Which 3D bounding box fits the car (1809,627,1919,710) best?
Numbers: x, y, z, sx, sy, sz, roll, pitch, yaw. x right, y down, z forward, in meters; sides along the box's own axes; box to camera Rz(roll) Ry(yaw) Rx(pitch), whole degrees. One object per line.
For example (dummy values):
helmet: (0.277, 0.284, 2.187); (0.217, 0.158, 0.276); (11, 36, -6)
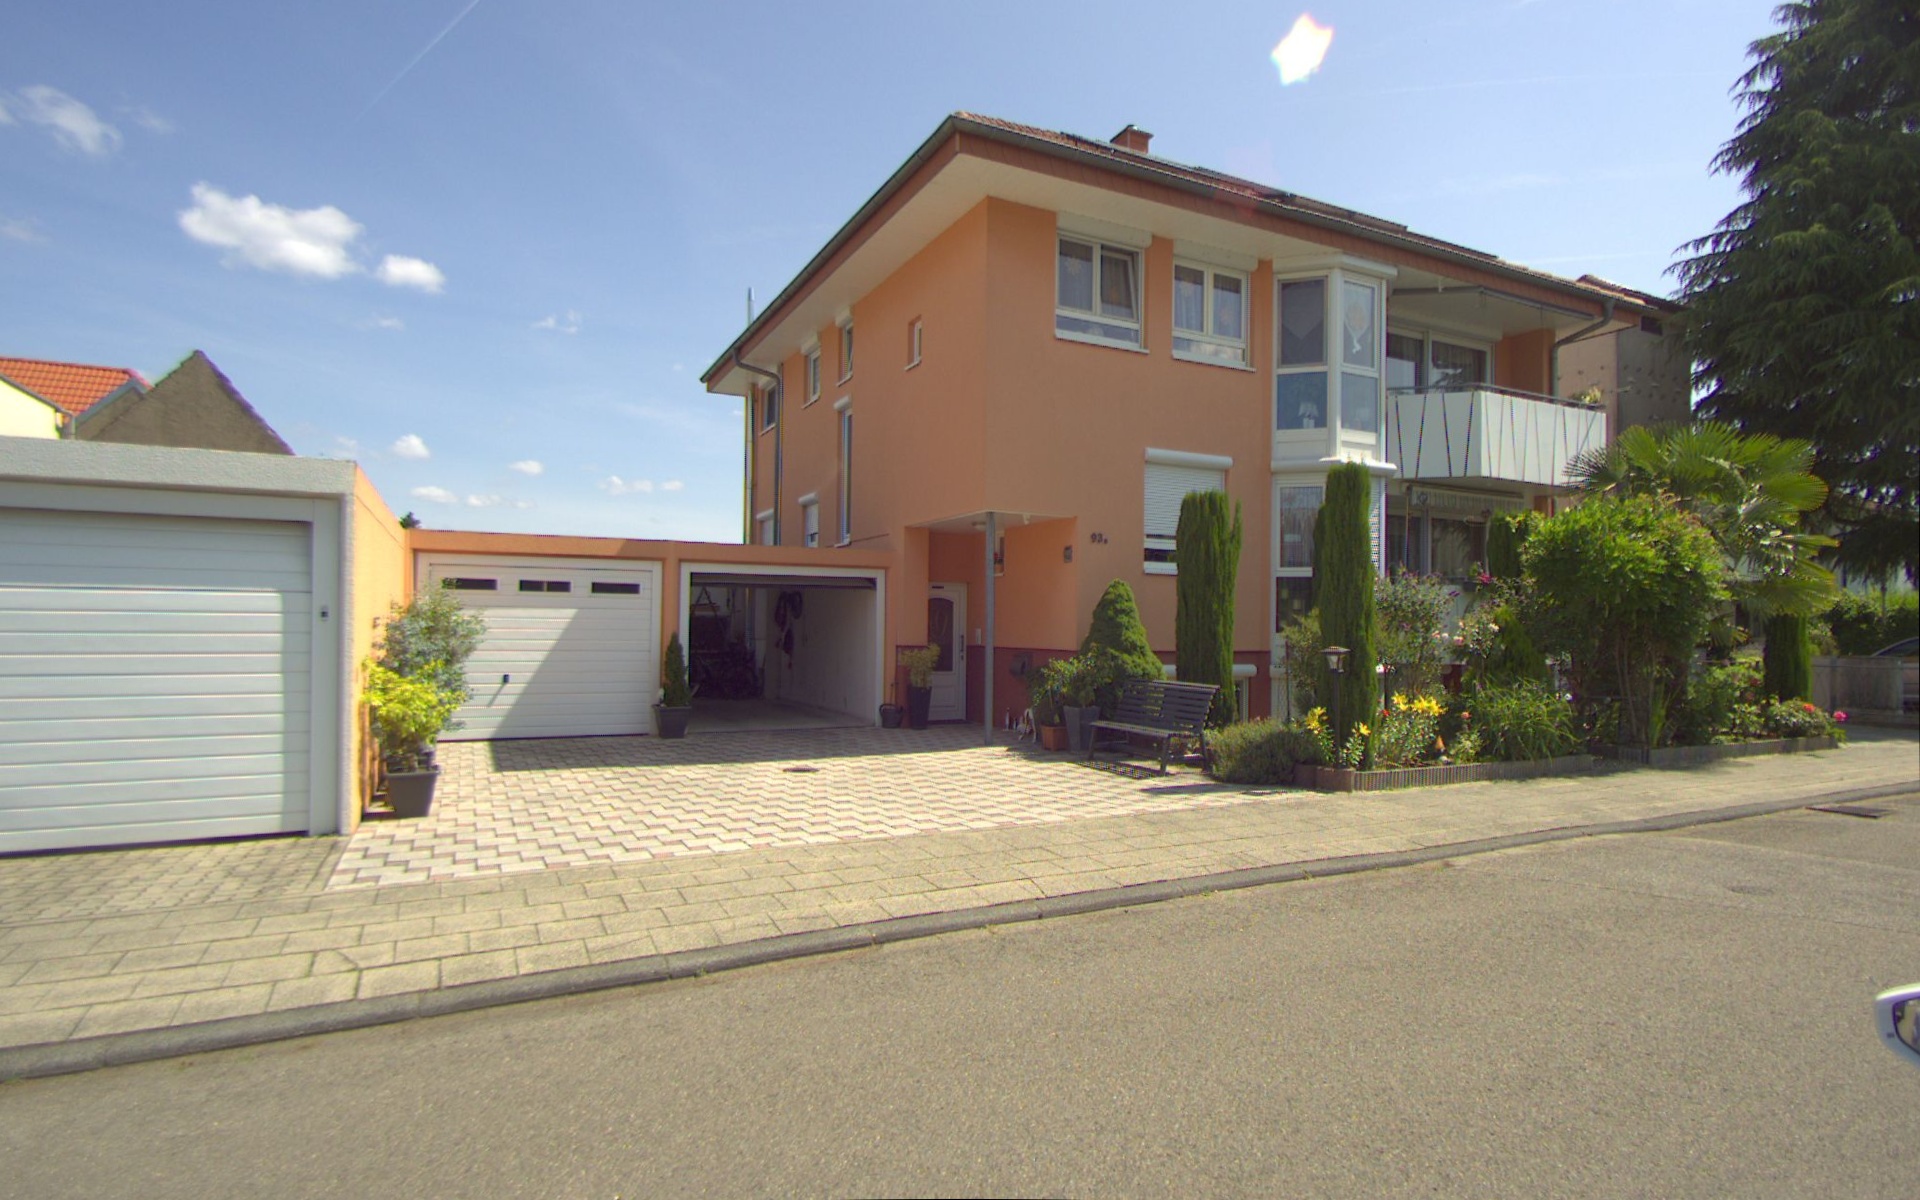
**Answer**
car: (20.183, 1.384, 20.370); (1.789, 1.675, 4.182); (1, -2, -24)
